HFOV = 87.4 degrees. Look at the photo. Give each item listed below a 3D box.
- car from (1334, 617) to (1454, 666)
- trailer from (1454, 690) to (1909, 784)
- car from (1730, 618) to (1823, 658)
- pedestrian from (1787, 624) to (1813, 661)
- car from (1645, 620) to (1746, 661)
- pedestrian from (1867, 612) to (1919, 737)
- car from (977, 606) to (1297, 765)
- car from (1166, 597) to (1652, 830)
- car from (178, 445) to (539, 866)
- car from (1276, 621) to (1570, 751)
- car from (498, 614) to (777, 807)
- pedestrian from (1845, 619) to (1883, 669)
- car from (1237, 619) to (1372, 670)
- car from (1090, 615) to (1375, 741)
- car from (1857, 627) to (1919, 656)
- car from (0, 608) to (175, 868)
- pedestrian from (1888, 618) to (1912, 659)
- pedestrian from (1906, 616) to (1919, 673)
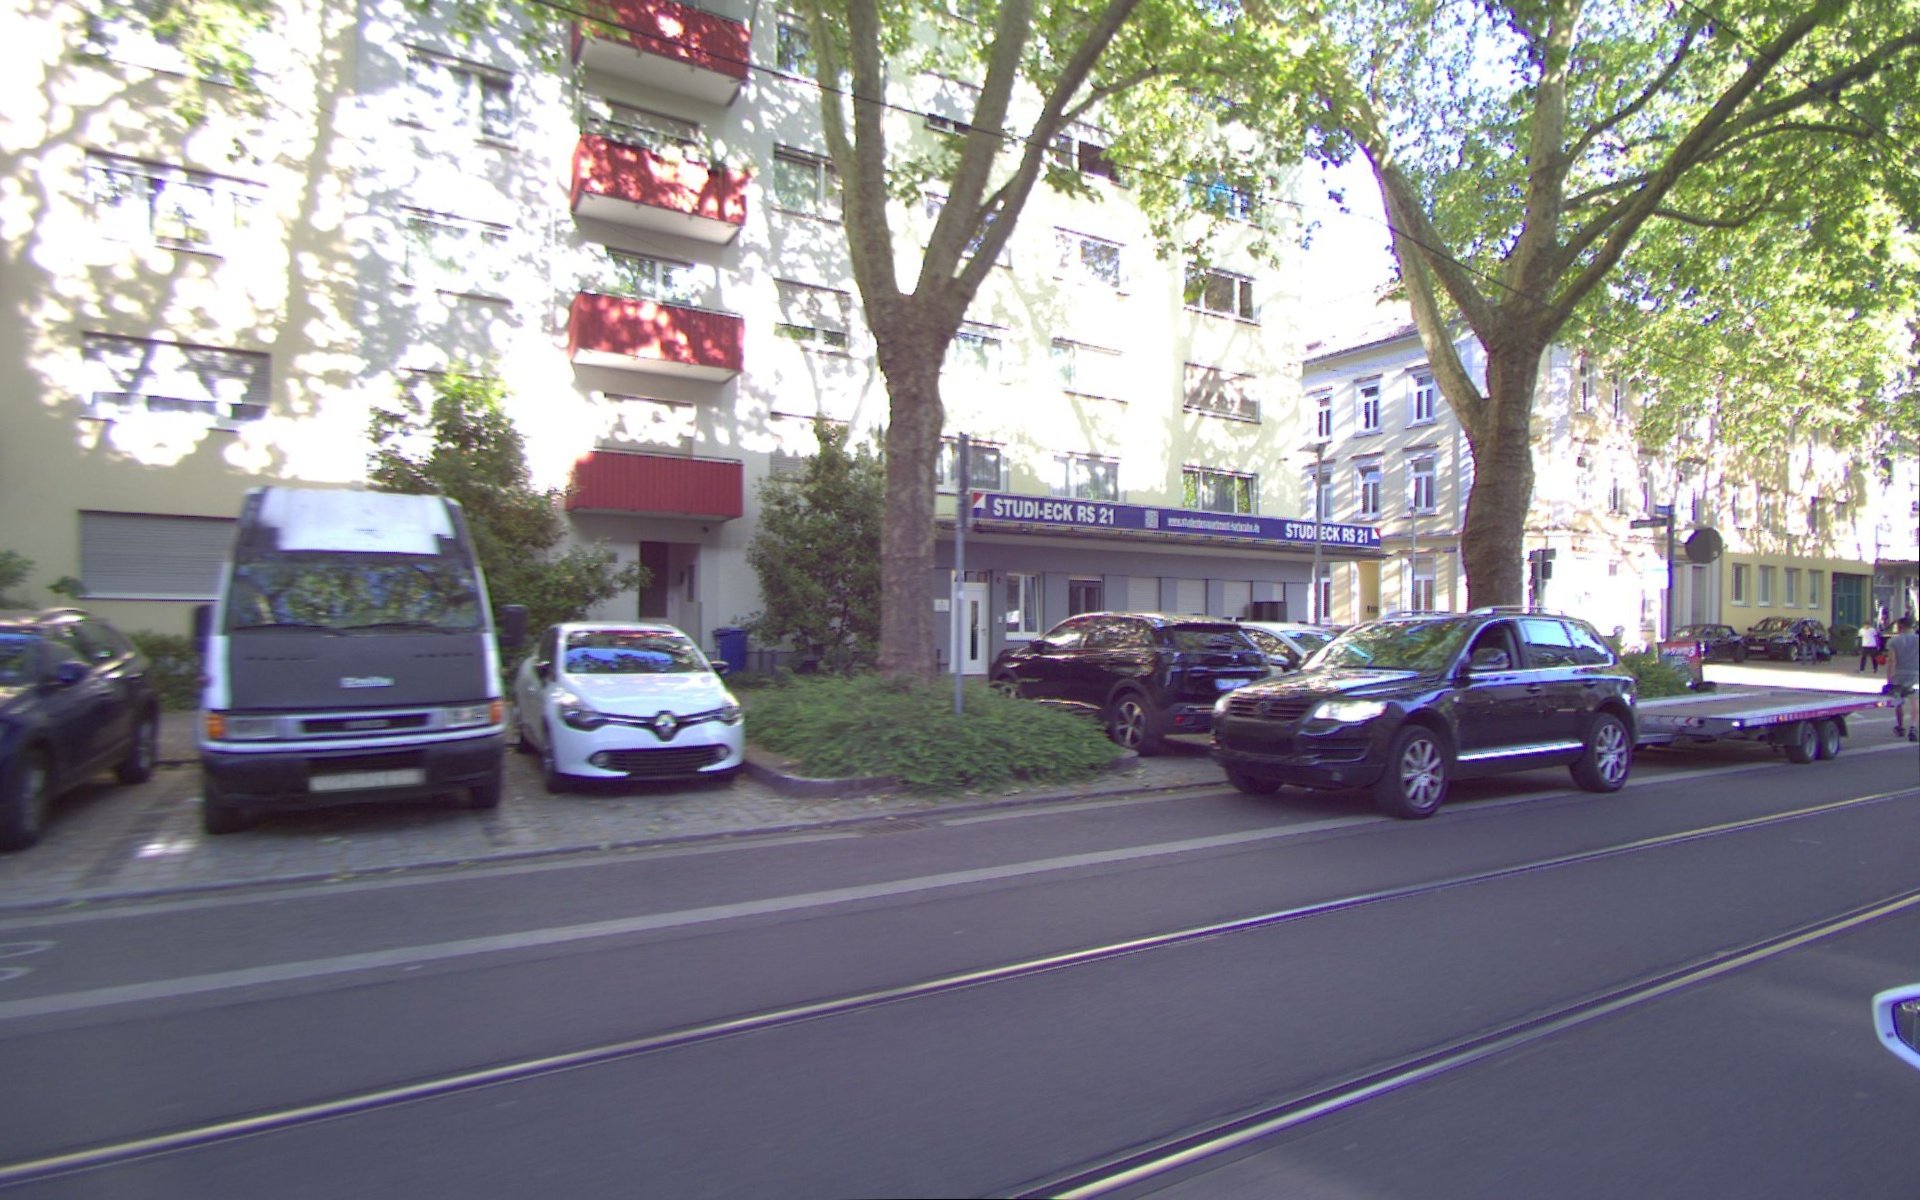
[{"bbox_3d":[15.982,1.483,37.115,1.975,1.606,3.631,-2,1,-29],"label":"car"},{"bbox_3d":[8.905,1.543,12.180,6.326,0.640,2.150,1,-3,-31],"label":"trailer"},{"bbox_3d":[33.782,1.552,41.553,3.952,1.537,1.674,1,0,-30],"label":"car"},{"bbox_3d":[32.764,1.642,39.182,0.641,1.421,0.550,1,-1,-27],"label":"pedestrian"},{"bbox_3d":[28.142,1.528,38.408,3.952,1.483,1.674,1,-1,-30],"label":"car"},{"bbox_3d":[13.668,1.056,14.547,0.907,1.758,0.704,1,-2,-44],"label":"pedestrian"},{"bbox_3d":[2.057,0.923,12.755,1.872,1.669,3.967,1,-1,-31],"label":"car"},{"bbox_3d":[4.284,0.913,9.447,4.432,1.722,1.984,1,-2,-31],"label":"car"},{"bbox_3d":[-5.321,0.374,8.833,2.061,2.601,4.913,1,-1,-34],"label":"car"},{"bbox_3d":[6.449,1.107,14.301,1.768,1.551,3.411,1,-1,-33],"label":"car"},{"bbox_3d":[-3.383,0.912,10.035,1.839,1.498,3.835,1,-1,-31],"label":"car"},{"bbox_3d":[30.938,1.499,34.371,0.638,1.654,0.841,1,-1,-36],"label":"pedestrian"},{"bbox_3d":[11.291,1.431,33.173,1.802,1.555,3.963,1,-1,-33],"label":"car"},{"bbox_3d":[3.831,1.021,14.782,1.751,1.542,3.967,1,-1,-31],"label":"car"},{"bbox_3d":[44.753,1.977,48.079,3.783,1.293,1.687,1,-1,-31],"label":"car"},{"bbox_3d":[-7.249,0.816,7.254,1.849,1.485,4.002,1,-1,-29],"label":"car"},{"bbox_3d":[38.790,1.602,41.454,0.641,1.674,0.550,1,-1,-27],"label":"pedestrian"},{"bbox_3d":[32.054,1.479,33.309,0.638,1.894,0.899,1,-1,-36],"label":"pedestrian"}]
